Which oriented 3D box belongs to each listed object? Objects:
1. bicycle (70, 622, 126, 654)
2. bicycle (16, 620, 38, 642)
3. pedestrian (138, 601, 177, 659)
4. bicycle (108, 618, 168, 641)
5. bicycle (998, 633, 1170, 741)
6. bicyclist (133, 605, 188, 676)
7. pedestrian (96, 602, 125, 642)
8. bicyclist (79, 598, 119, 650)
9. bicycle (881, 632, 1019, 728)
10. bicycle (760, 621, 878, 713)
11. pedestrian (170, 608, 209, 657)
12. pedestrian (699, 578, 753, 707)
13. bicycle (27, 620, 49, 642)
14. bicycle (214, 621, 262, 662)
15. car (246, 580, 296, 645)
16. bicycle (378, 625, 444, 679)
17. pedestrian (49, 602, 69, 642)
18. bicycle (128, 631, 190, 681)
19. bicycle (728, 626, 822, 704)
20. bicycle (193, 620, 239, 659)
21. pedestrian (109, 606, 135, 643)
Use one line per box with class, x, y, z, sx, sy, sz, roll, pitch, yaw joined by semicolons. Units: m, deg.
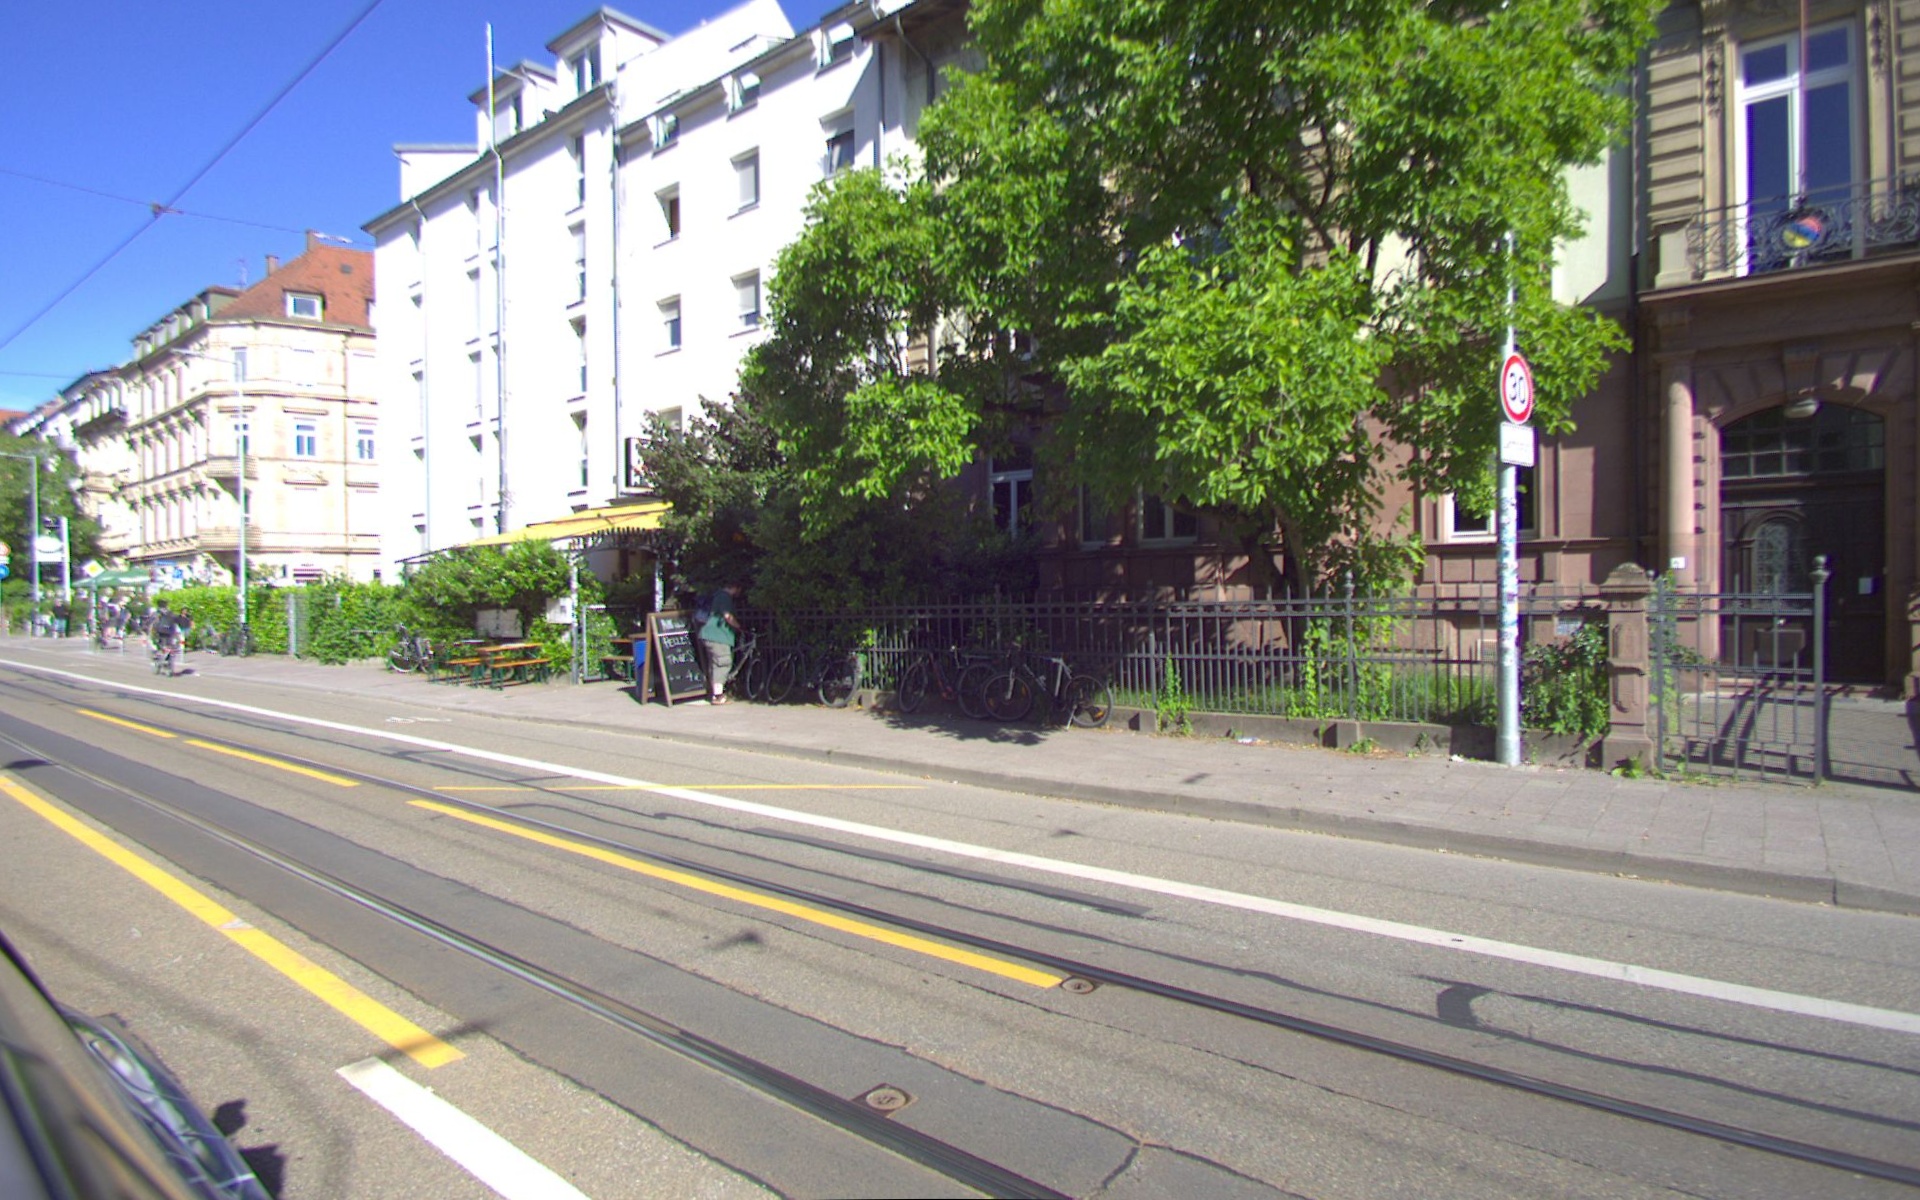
bicycle;-31.626;1.369;37.146;0.695;1.063;1.839;0;1;-8
bicycle;-45.782;1.524;49.639;2.221;1.046;0.508;-1;0;40
pedestrian;-24.803;0.924;31.288;0.807;1.726;0.747;-1;2;40
bicycle;-39.469;1.404;48.611;2.212;1.052;0.877;-1;1;-42
bicycle;1.356;0.929;11.316;1.904;1.053;0.583;0;2;43
bicyclist;-18.611;0.928;23.553;1.117;1.612;0.737;-1;-3;40
pedestrian;-38.008;0.974;45.299;0.682;1.781;0.869;0;0;-14
bicyclist;-31.623;0.880;37.162;0.695;1.867;0.987;0;1;-8
bicycle;-0.159;0.959;12.703;0.583;1.053;1.907;-2;1;-43
bicycle;-2.017;0.901;14.288;0.638;1.152;1.907;-4;2;-43
pedestrian;-24.233;1.011;31.822;0.956;1.489;0.747;-1;2;40
pedestrian;-3.459;0.609;14.927;0.567;1.845;0.691;-1;0;-32
bicycle;-42.959;1.449;47.141;1.776;0.988;0.522;-1;0;39
bicycle;-21.144;1.192;29.642;1.839;1.097;0.655;0;4;40
car;-32.136;0.510;47.241;1.861;2.862;4.796;0;1;-34
bicycle;-11.860;1.099;21.852;1.741;1.067;0.632;-1;2;40
pedestrian;-41.504;1.010;46.611;0.538;1.795;0.552;0;0;36
bicycle;-18.654;1.291;23.569;1.897;1.090;0.737;0;-3;40
bicycle;-2.847;0.950;15.400;0.628;1.053;2.027;-1;0;-34
bicycle;-22.727;1.186;30.920;1.839;1.097;0.655;0;4;40
pedestrian;-38.444;1.111;46.436;0.694;1.667;0.835;0;1;-19
